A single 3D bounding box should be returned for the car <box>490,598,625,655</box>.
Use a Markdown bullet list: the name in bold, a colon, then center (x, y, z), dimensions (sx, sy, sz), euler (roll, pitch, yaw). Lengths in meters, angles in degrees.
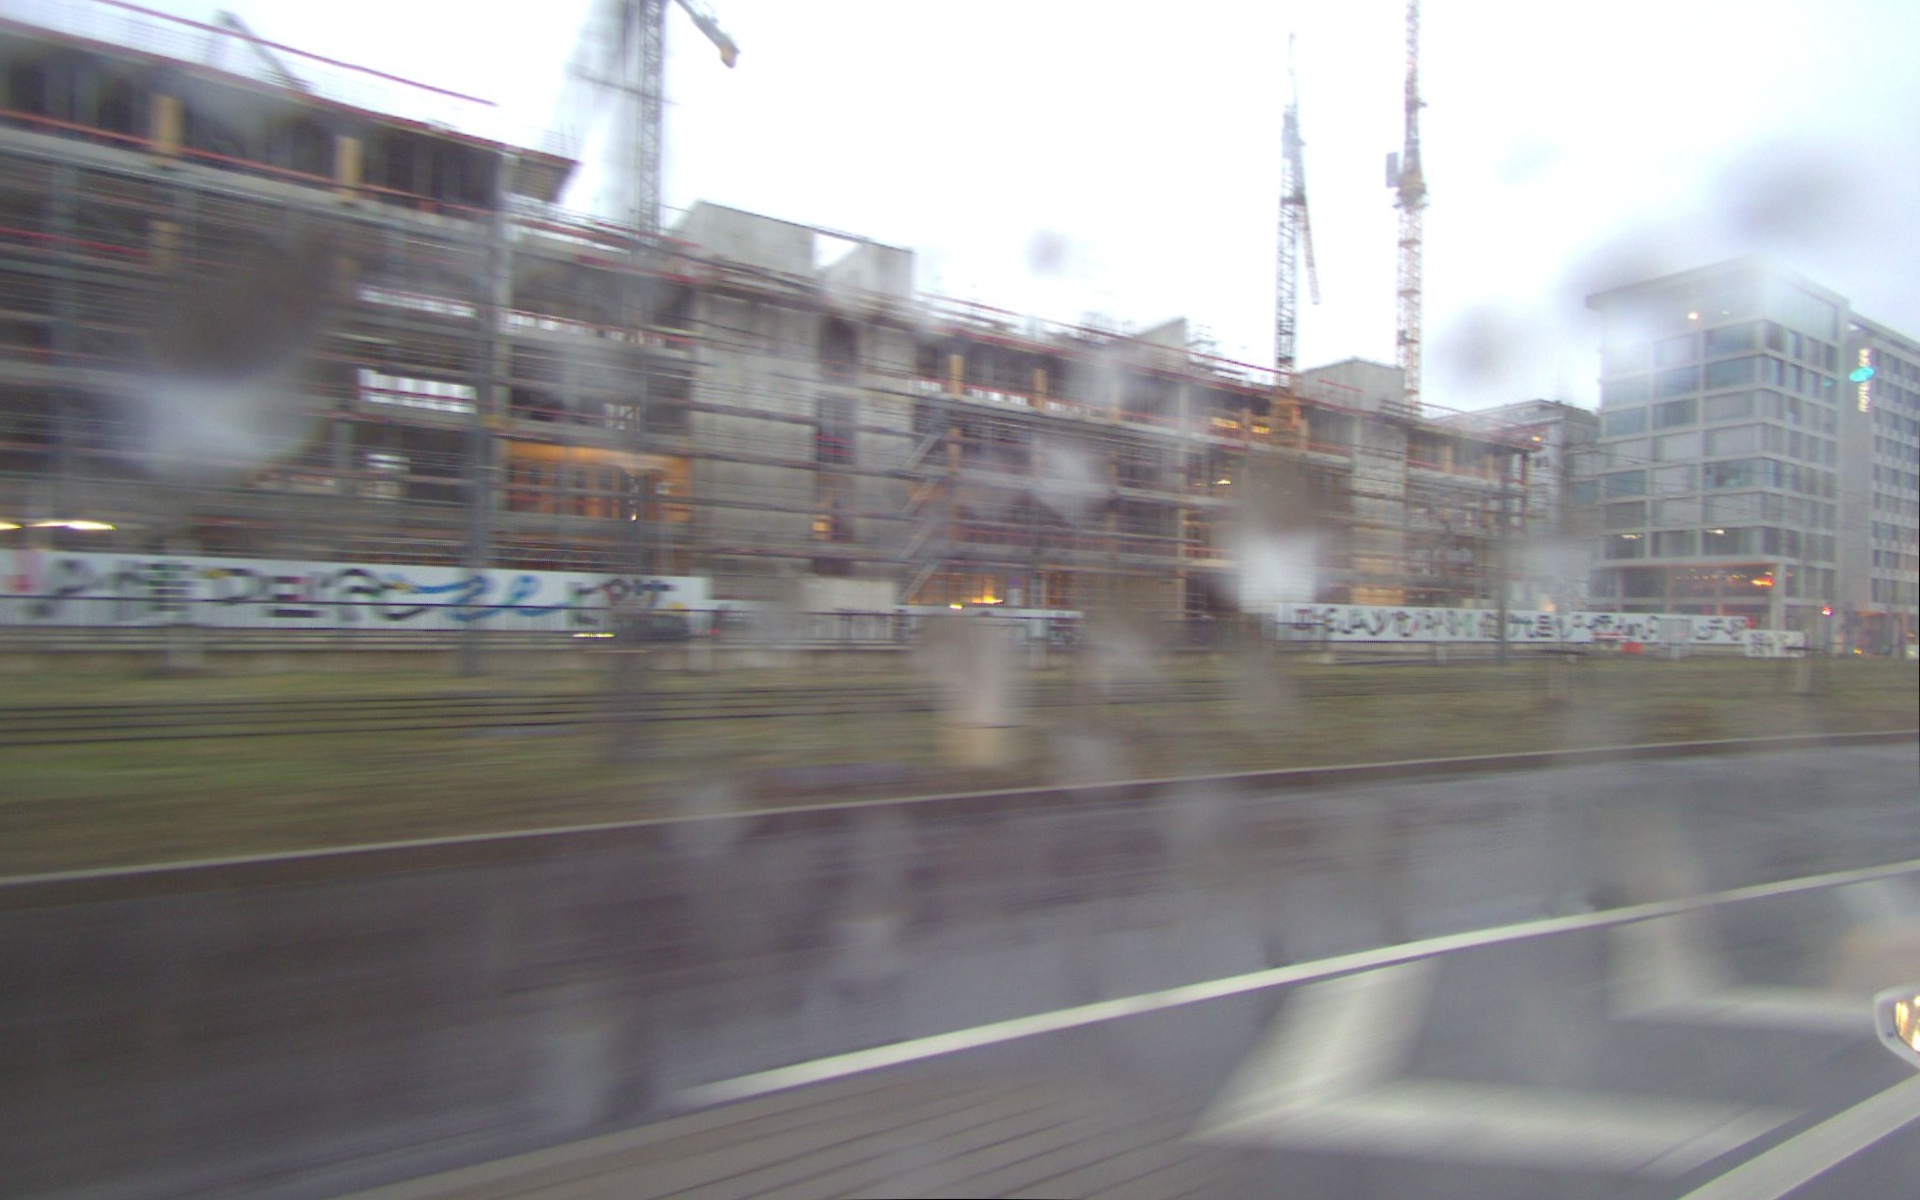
- **car**: center (-12.720, 0.845, 31.786), dimensions (3.720, 1.685, 1.745), euler (2, 0, -31)
